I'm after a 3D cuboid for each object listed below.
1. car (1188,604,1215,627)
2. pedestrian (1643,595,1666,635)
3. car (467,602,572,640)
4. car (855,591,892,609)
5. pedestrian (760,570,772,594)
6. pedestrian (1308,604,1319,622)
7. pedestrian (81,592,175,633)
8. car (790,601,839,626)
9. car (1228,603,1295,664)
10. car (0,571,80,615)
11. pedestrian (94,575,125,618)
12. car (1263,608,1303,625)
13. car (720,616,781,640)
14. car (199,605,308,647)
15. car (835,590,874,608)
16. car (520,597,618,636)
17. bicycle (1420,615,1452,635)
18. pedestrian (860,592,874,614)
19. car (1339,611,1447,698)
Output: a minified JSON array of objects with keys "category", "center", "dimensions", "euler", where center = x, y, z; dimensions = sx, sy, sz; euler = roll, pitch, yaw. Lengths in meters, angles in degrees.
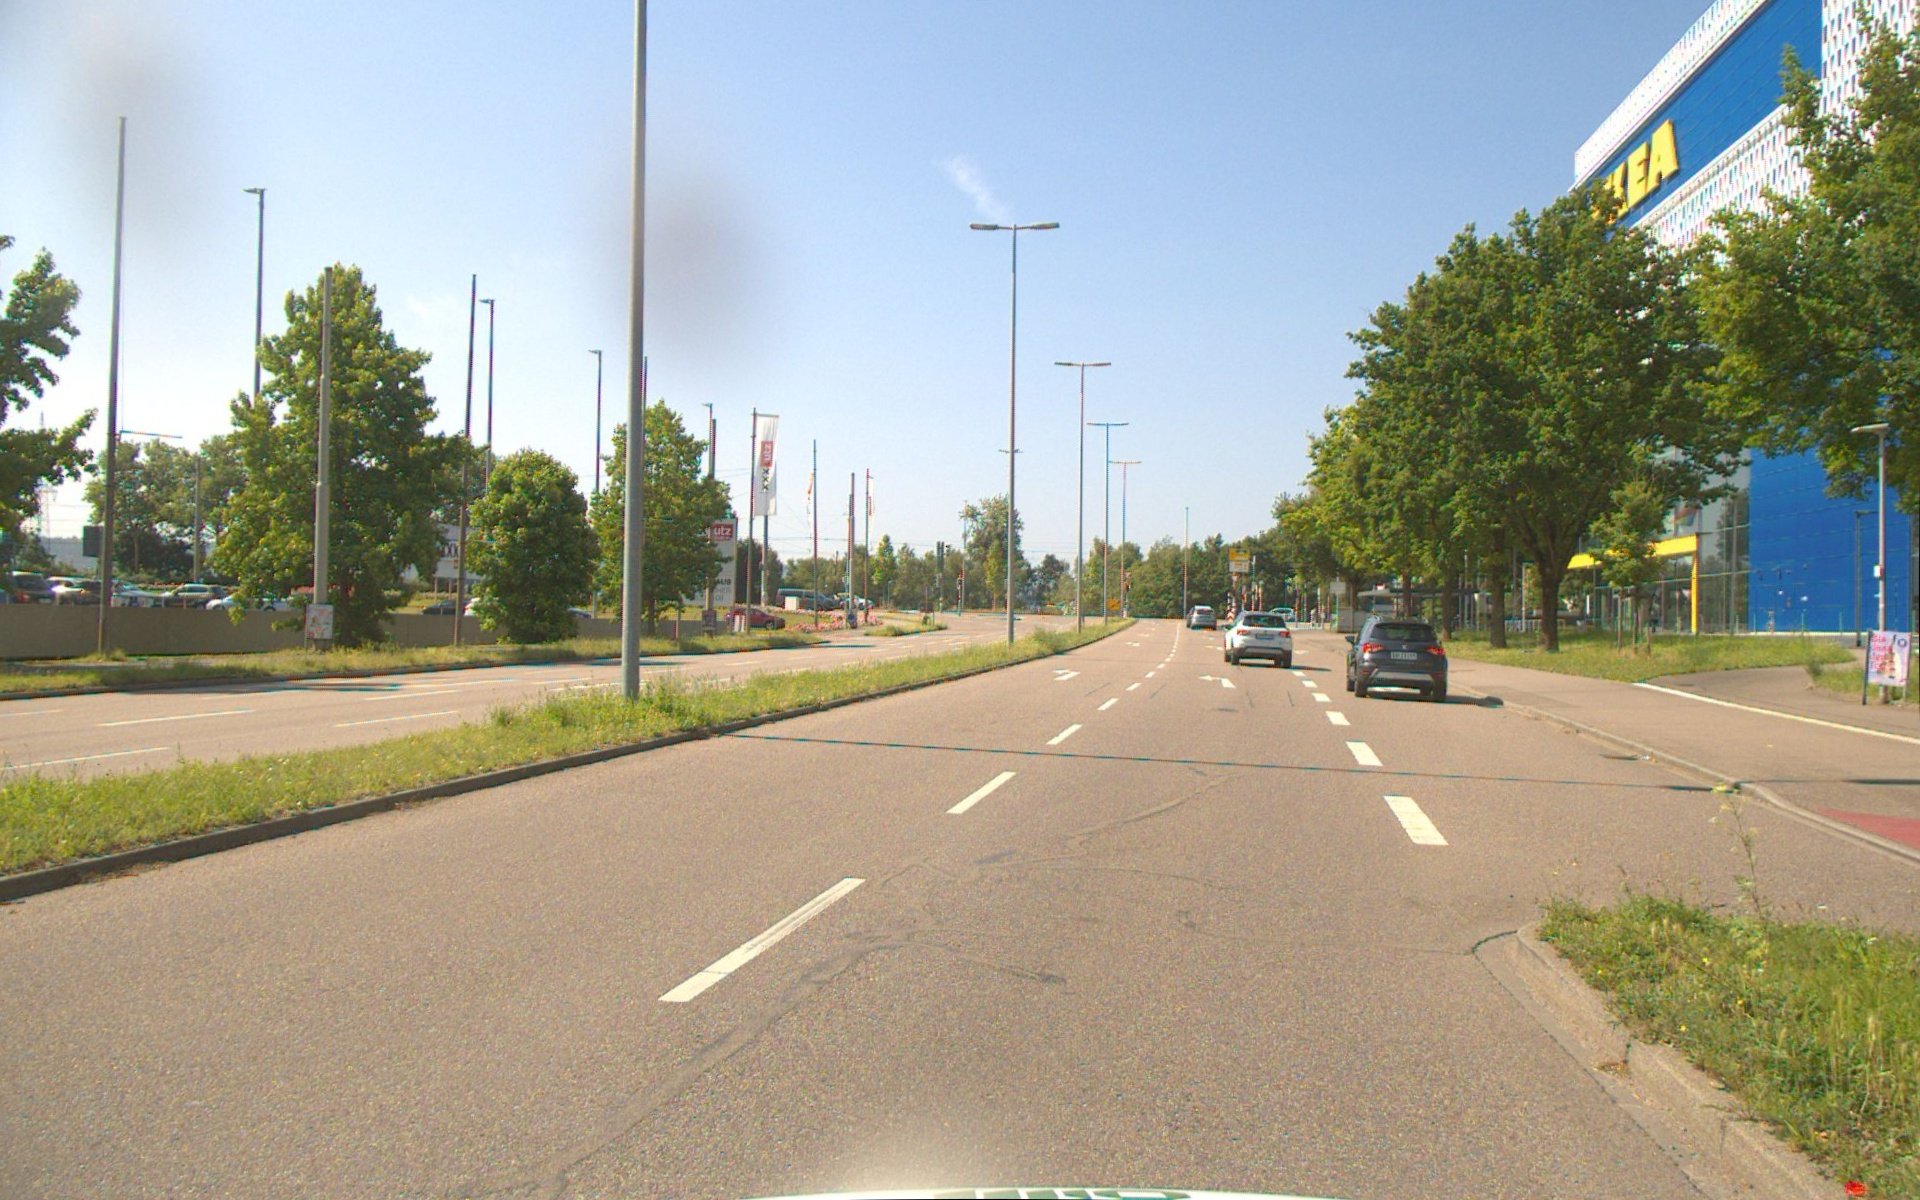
[{"category":"car","center":[16.827,1.066,115.441],"dimensions":[1.670,1.601,4.177],"euler":[0,0,6]},{"category":"pedestrian","center":[28.501,0.626,67.877],"dimensions":[0.673,1.640,0.772],"euler":[0,0,4]},{"category":"car","center":[-20.671,0.983,77.726],"dimensions":[4.319,1.656,1.872],"euler":[1,-2,5]},{"category":"car","center":[-8.083,-0.015,154.092],"dimensions":[3.273,1.526,1.410],"euler":[1,-2,3]},{"category":"pedestrian","center":[-16.217,-1.496,138.260],"dimensions":[0.701,2.007,0.918],"euler":[1,-2,12]},{"category":"pedestrian","center":[29.940,1.101,140.014],"dimensions":[0.756,1.537,1.008],"euler":[1,1,19]},{"category":"pedestrian","center":[-44.201,0.678,87.924],"dimensions":[1.961,2.049,3.981],"euler":[0,-2,38]},{"category":"car","center":[-12.618,1.160,143.338],"dimensions":[3.913,1.958,1.813],"euler":[3,1,29]},{"category":"car","center":[8.692,0.927,47.925],"dimensions":[1.596,1.524,3.873],"euler":[2,2,6]},{"category":"car","center":[-24.294,-0.173,42.801],"dimensions":[2.460,1.078,1.072],"euler":[1,-2,5]},{"category":"pedestrian","center":[-40.580,-0.159,78.906],"dimensions":[0.843,2.049,1.022],"euler":[0,0,22]},{"category":"car","center":[32.862,1.686,168.144],"dimensions":[3.986,1.574,1.801],"euler":[1,-1,12]},{"category":"car","center":[-15.085,2.023,119.227],"dimensions":[4.095,1.634,1.827],"euler":[1,-2,3]},{"category":"car","center":[-35.145,1.264,82.322],"dimensions":[4.571,2.049,2.031],"euler":[0,0,4]},{"category":"car","center":[-9.624,-0.107,150.905],"dimensions":[3.314,1.526,1.410],"euler":[1,-2,6]},{"category":"car","center":[-19.480,0.836,82.568],"dimensions":[4.318,1.875,1.947],"euler":[1,-1,7]},{"category":"bicycle","center":[27.333,1.418,94.952],"dimensions":[1.721,1.115,0.452],"euler":[0,0,7]},{"category":"pedestrian","center":[-7.593,0.252,135.033],"dimensions":[0.822,1.737,0.906],"euler":[0,0,19]},{"category":"car","center":[8.395,1.017,32.296],"dimensions":[1.634,1.550,3.379],"euler":[2,0,8]}]
